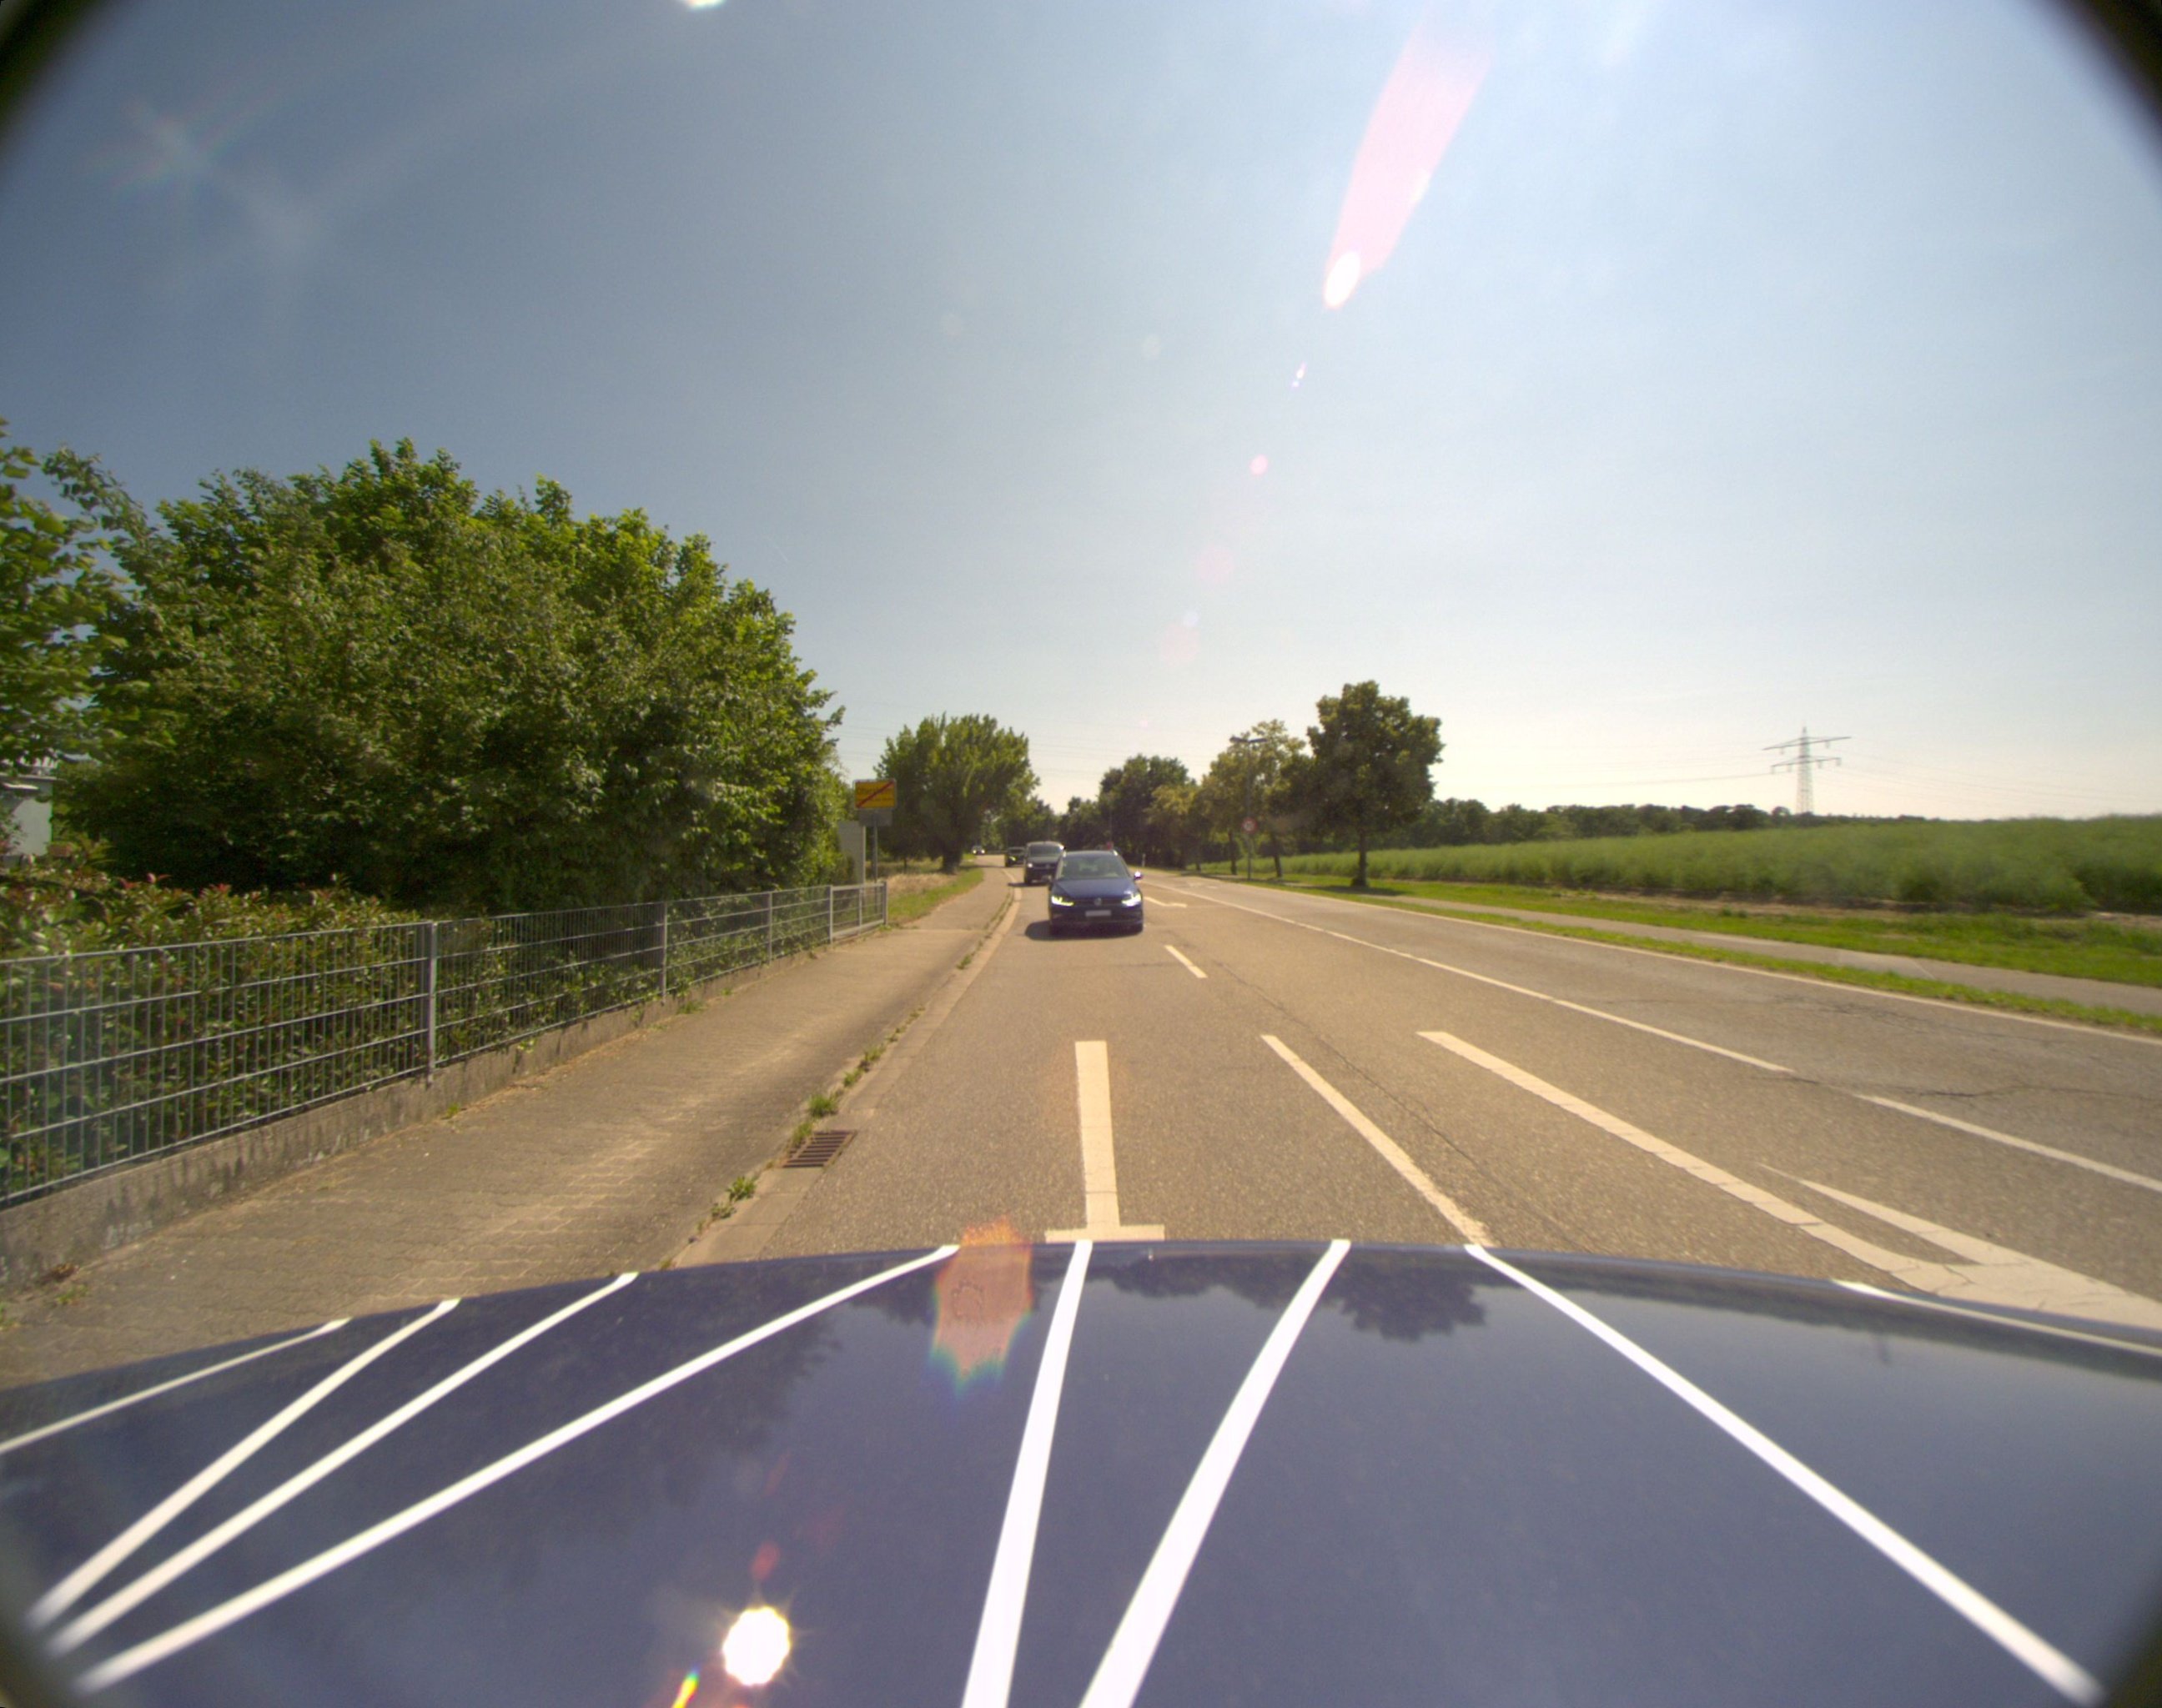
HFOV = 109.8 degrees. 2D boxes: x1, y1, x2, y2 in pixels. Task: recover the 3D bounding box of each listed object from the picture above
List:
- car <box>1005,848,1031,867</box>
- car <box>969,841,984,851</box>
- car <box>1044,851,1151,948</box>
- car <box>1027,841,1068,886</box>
[{"bbox_3d":[-5.363,0.307,64.458,1.766,1.530,3.681,-1,0,-11],"label":"car"},{"bbox_3d":[-16.913,-1.339,123.109,2.001,1.523,3.995,-2,0,-14],"label":"car"},{"bbox_3d":[0.233,0.754,14.958,1.765,1.520,4.421,-2,1,-1],"label":"car"},{"bbox_3d":[-1.544,0.390,35.821,1.765,1.954,4.260,-2,1,-2],"label":"car"}]
